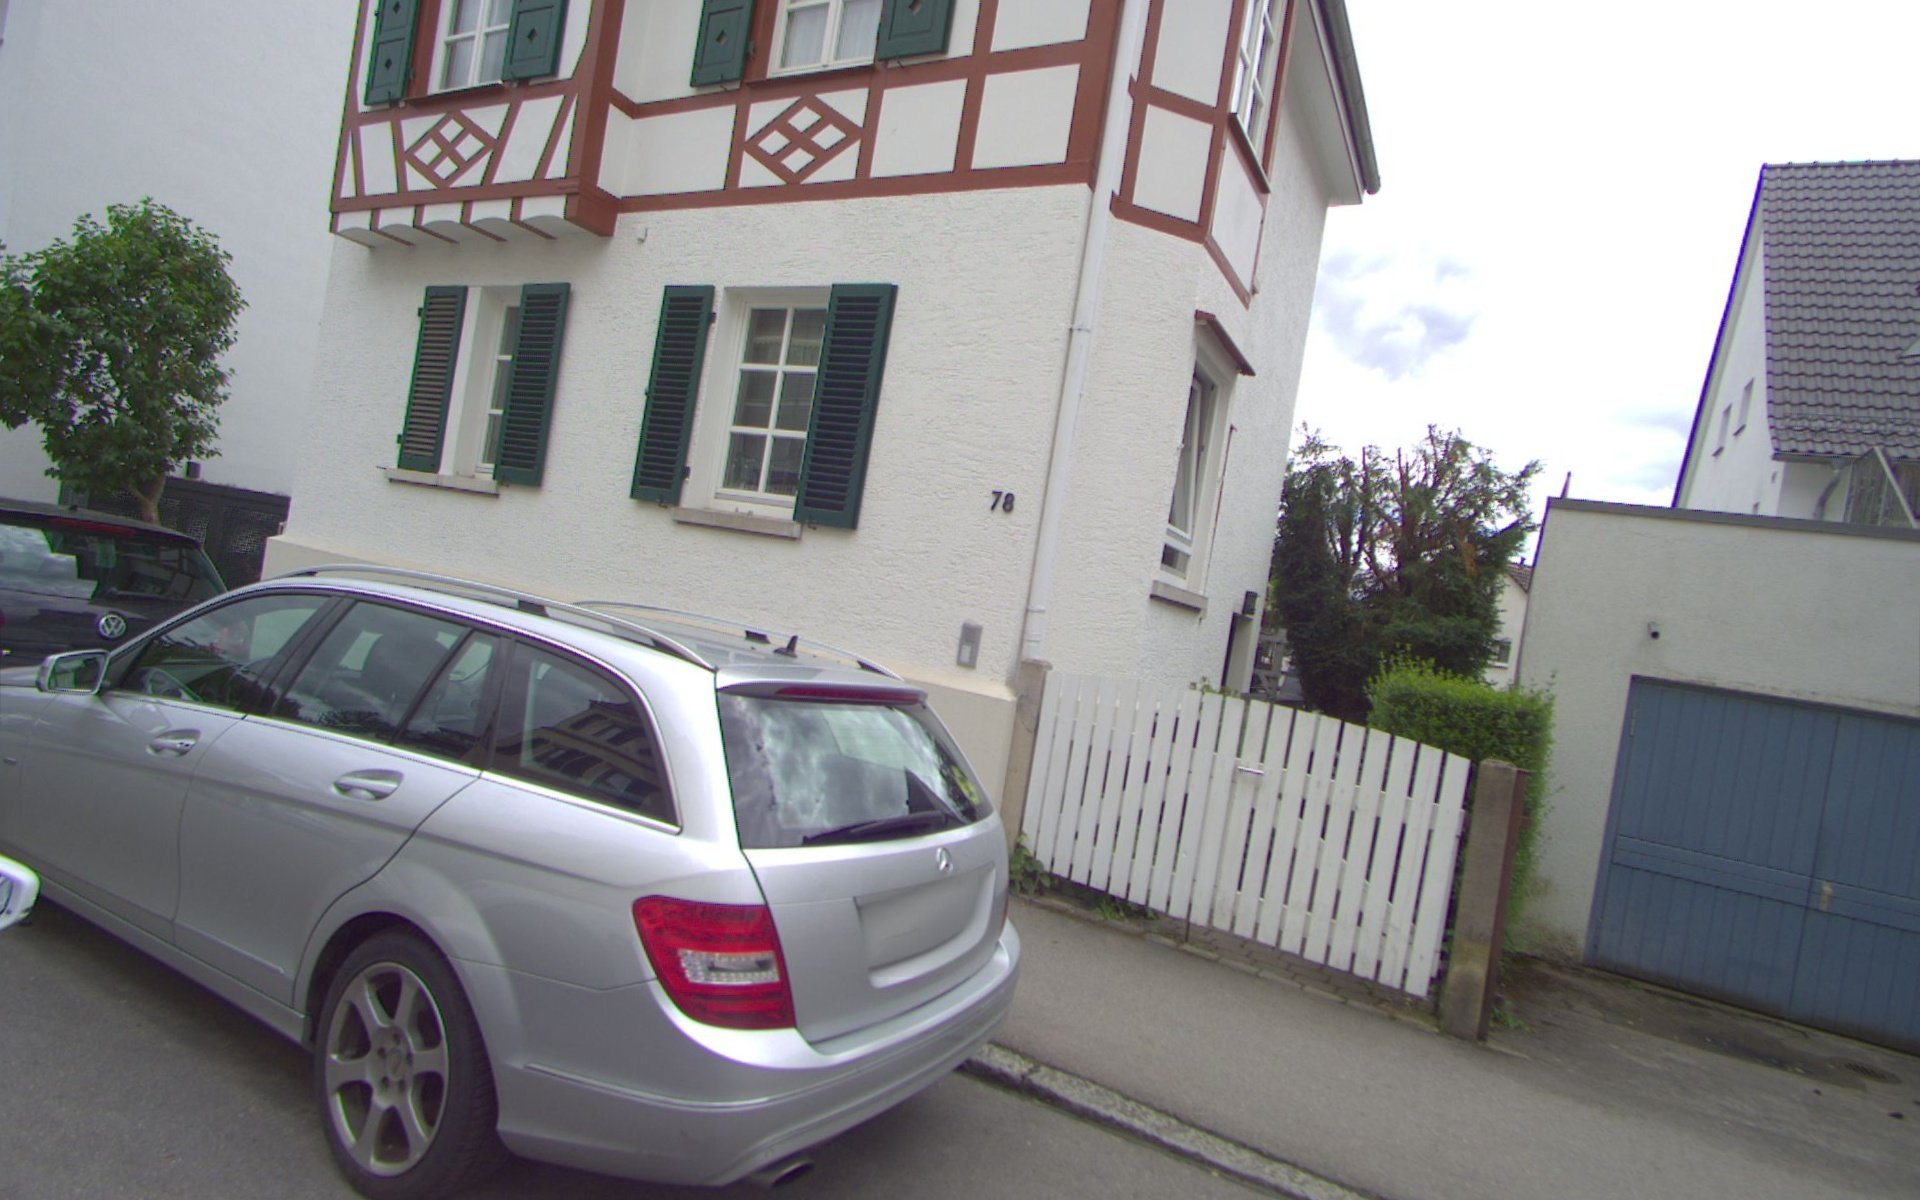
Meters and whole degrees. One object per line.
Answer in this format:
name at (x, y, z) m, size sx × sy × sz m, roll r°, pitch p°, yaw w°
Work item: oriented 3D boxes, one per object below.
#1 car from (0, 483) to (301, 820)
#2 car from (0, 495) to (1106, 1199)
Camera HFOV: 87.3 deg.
car at (-5.873, 0.071, 5.806) m, size 3.813 × 1.537 × 1.695 m, roll 7°, pitch -2°, yaw 28°
car at (-1.924, 0.593, 3.657) m, size 4.374 × 1.458 × 1.824 m, roll 7°, pitch -2°, yaw 28°
